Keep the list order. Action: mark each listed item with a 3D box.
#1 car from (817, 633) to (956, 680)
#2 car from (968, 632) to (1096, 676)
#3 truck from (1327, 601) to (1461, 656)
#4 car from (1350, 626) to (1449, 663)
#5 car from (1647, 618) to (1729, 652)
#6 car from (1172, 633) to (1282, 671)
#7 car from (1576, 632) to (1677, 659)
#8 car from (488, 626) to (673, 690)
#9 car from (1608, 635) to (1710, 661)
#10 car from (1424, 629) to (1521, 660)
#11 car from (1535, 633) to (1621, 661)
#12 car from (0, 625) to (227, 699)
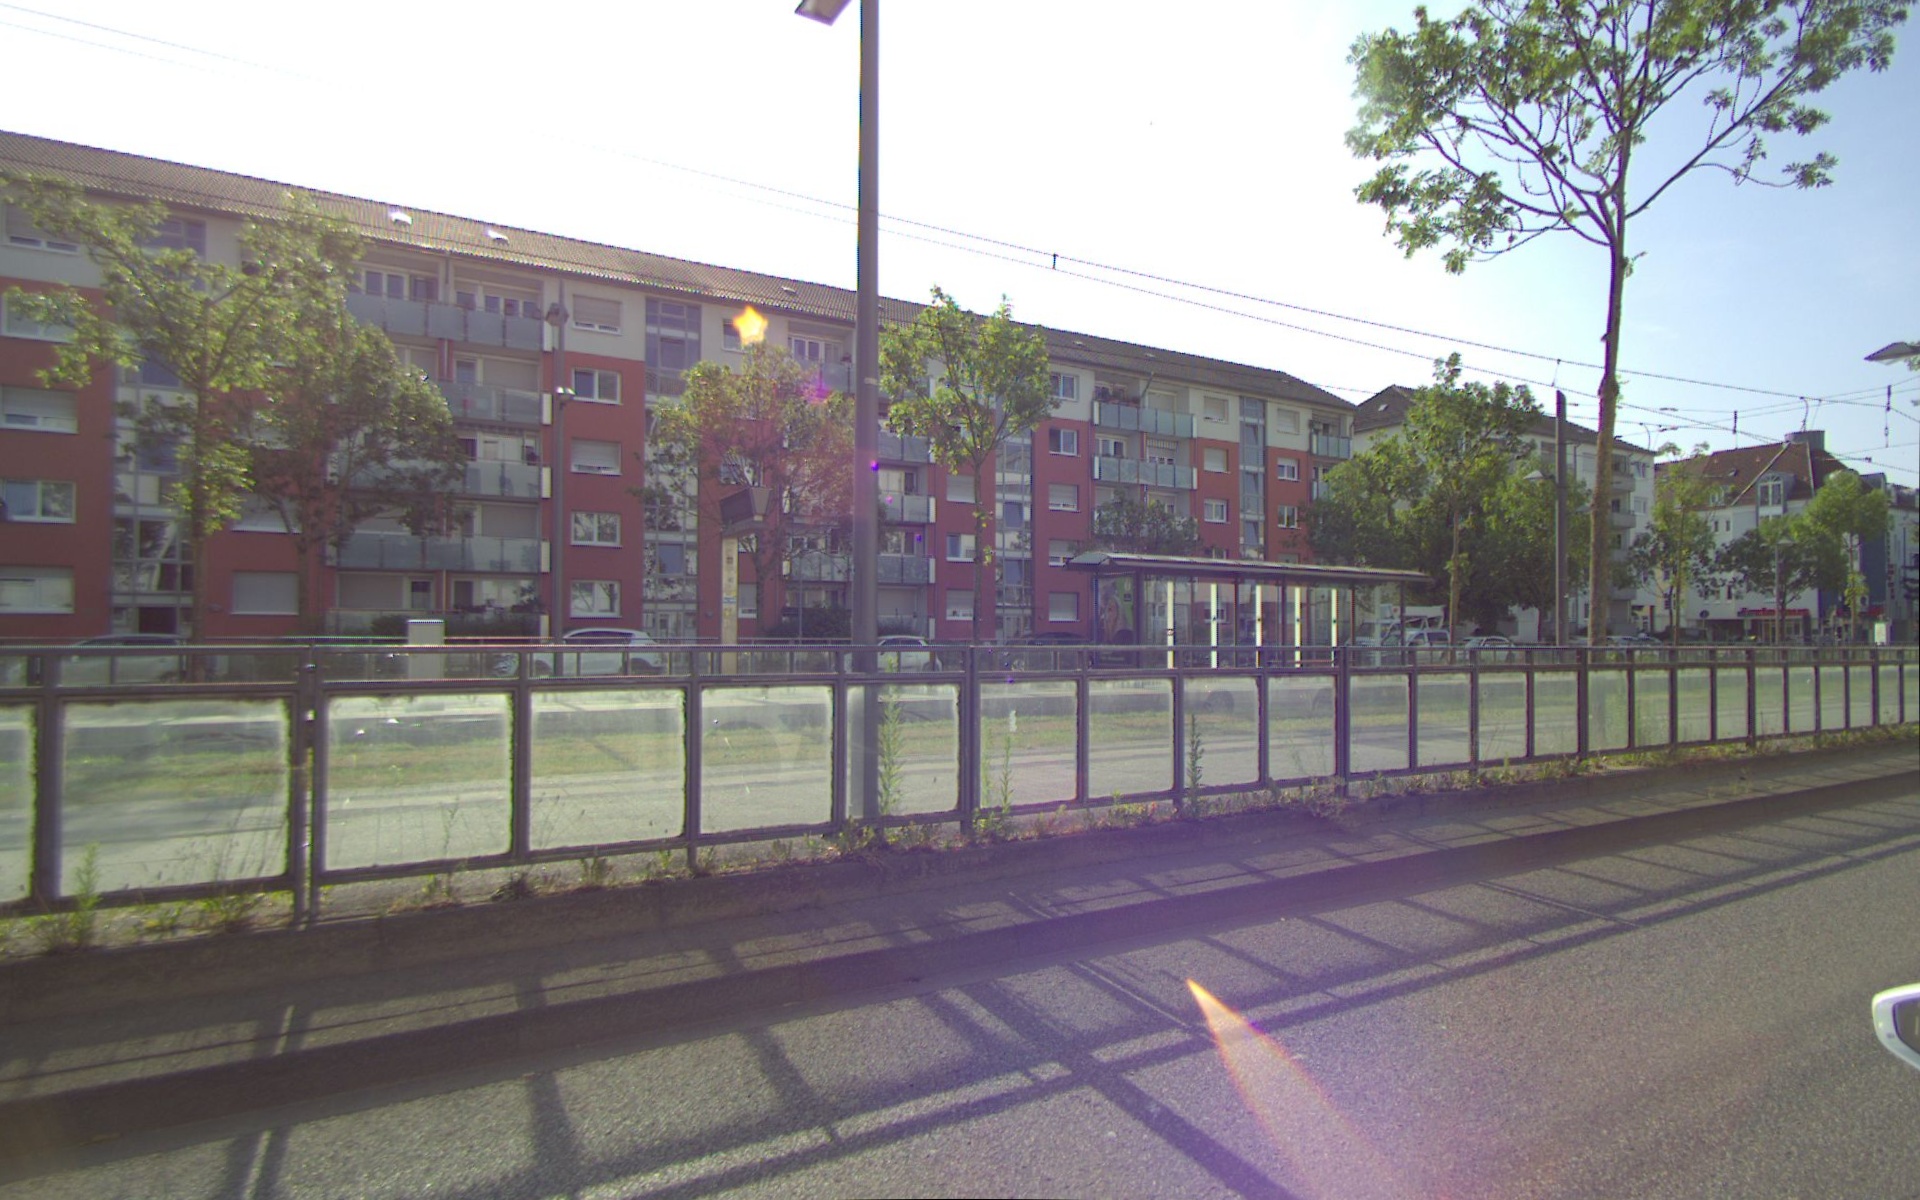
[{"bbox_3d":[-2.340,1.780,32.218,4.022,1.378,1.971,1,-1,-31],"label":"car"},{"bbox_3d":[2.493,1.829,34.653,4.022,1.378,1.971,1,-1,-31],"label":"car"},{"bbox_3d":[21.565,1.416,49.809,7.157,2.597,2.354,1,0,-31],"label":"truck"},{"bbox_3d":[19.703,1.980,44.980,4.231,1.533,1.971,1,0,-31],"label":"car"},{"bbox_3d":[46.770,2.267,64.506,5.250,2.057,2.354,1,0,-31],"label":"car"},{"bbox_3d":[10.535,2.034,39.645,4.022,1.378,1.971,1,-1,-31],"label":"car"},{"bbox_3d":[33.257,2.237,50.225,1.906,1.260,3.989,1,-2,-14],"label":"car"},{"bbox_3d":[-10.363,1.556,27.524,4.485,1.577,1.971,1,0,-31],"label":"car"},{"bbox_3d":[35.556,2.408,51.221,1.906,1.260,3.989,1,-2,-14],"label":"car"},{"bbox_3d":[24.415,2.099,47.830,4.629,1.397,1.971,1,-1,-31],"label":"car"},{"bbox_3d":[30.024,2.256,48.951,1.796,1.260,4.001,0,-2,1],"label":"car"},{"bbox_3d":[-18.917,1.341,22.552,3.782,1.490,1.824,1,0,-31],"label":"car"}]
